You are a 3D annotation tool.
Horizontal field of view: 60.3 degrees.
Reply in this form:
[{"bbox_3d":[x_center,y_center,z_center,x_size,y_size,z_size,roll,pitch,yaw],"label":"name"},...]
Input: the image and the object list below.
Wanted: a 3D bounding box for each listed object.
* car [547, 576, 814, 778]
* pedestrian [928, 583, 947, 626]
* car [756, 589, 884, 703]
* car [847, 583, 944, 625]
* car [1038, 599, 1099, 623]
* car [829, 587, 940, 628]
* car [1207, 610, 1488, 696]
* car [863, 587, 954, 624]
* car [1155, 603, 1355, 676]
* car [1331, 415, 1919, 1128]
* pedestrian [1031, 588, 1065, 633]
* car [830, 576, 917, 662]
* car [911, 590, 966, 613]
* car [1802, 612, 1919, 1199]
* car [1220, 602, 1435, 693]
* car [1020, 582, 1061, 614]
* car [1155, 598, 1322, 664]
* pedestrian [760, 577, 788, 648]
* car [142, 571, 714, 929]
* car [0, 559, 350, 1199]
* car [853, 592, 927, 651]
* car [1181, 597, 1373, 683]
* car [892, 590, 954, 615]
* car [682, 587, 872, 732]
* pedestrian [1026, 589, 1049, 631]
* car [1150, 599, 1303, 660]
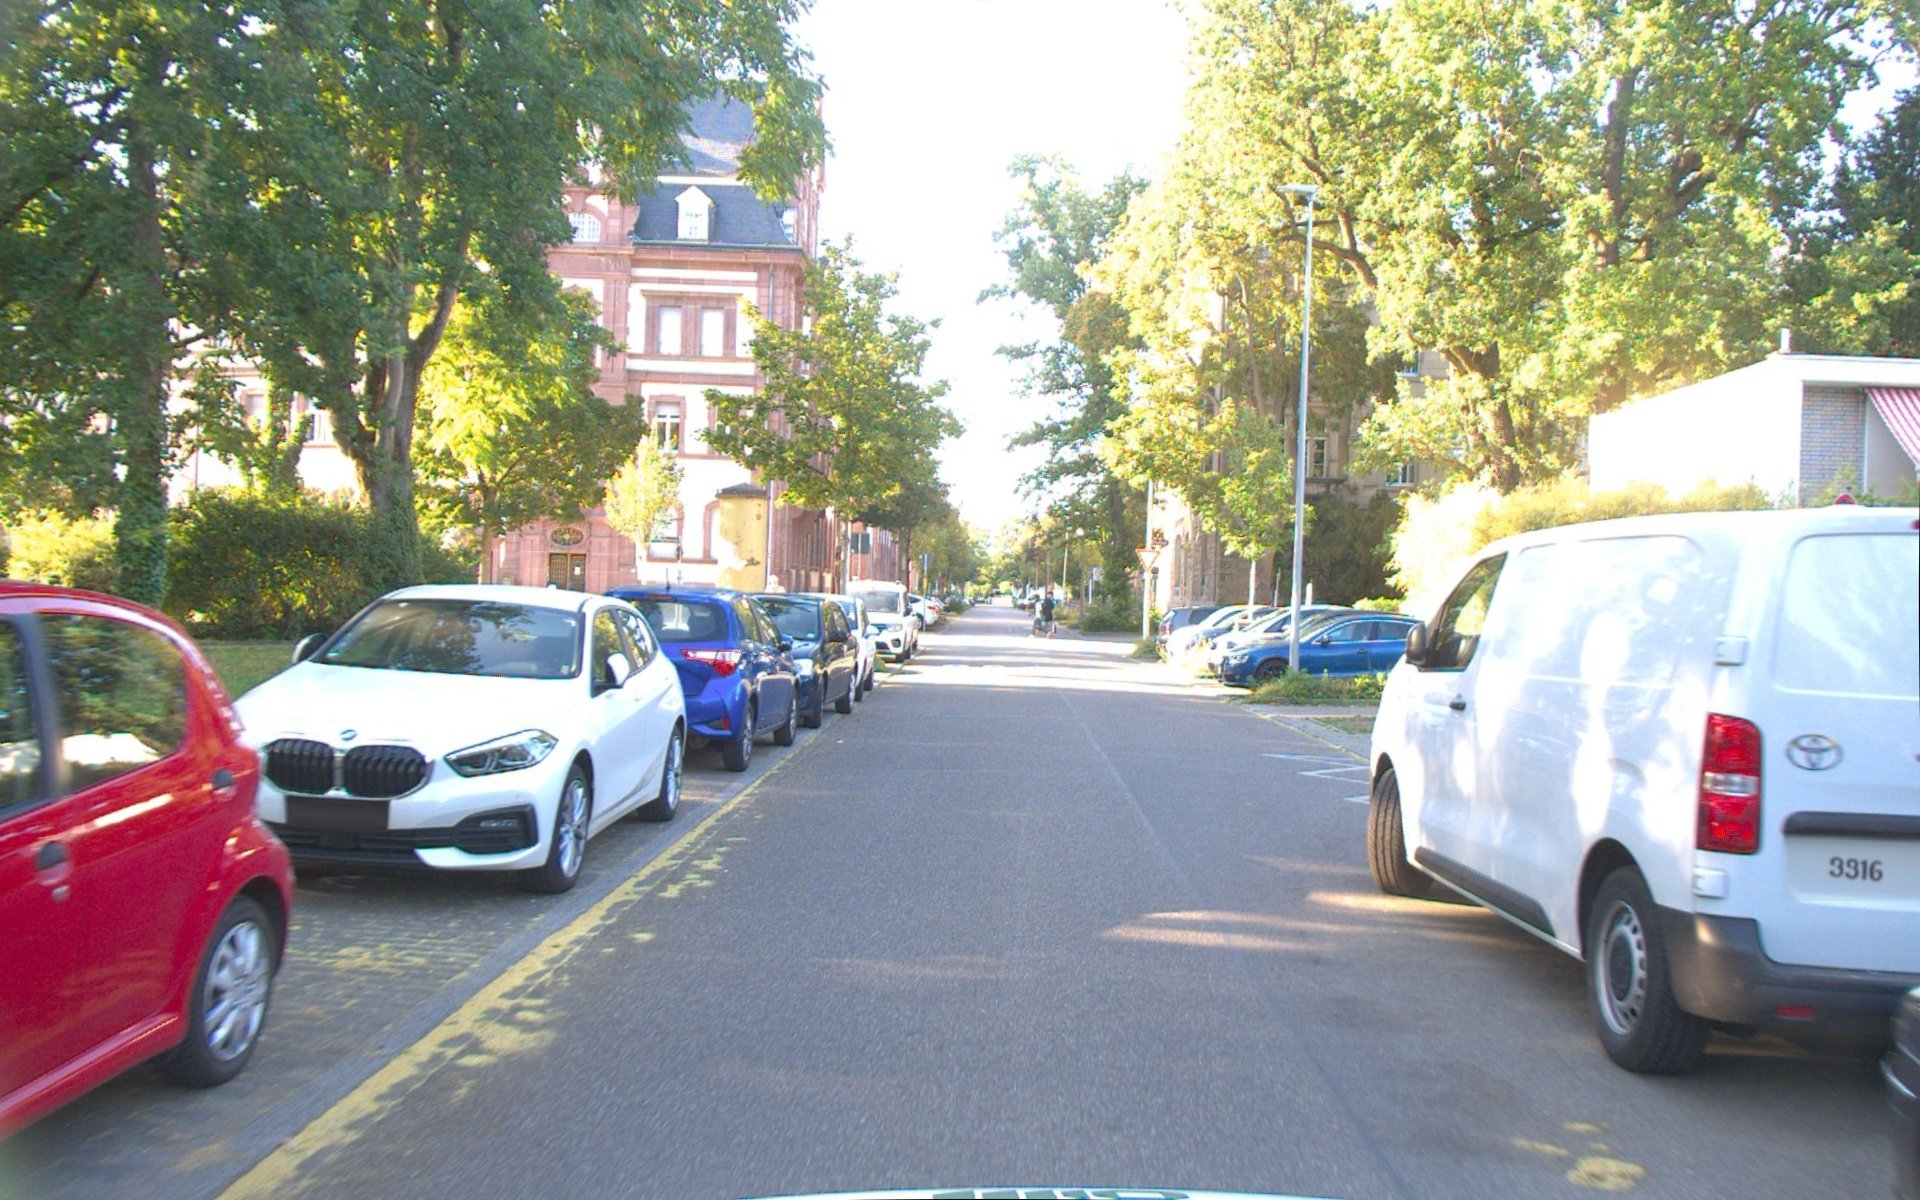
[{"bbox_3d":[-2.416,0.615,15.169,1.604,1.521,3.706,4,0,2],"label":"car"},{"bbox_3d":[-1.070,0.213,78.851,0.770,1.996,0.719,2,-1,-7],"label":"pedestrian"},{"bbox_3d":[-2.058,0.642,25.205,1.559,1.553,3.865,2,0,0],"label":"car"},{"bbox_3d":[-2.978,0.187,76.751,4.392,1.746,1.842,2,0,-1],"label":"car"},{"bbox_3d":[8.161,0.849,124.836,4.392,1.636,1.842,2,0,-1],"label":"car"},{"bbox_3d":[-3.273,0.331,72.264,4.744,1.622,1.842,2,0,-1],"label":"car"},{"bbox_3d":[6.654,0.903,28.793,4.493,1.439,1.923,0,-1,2],"label":"car"},{"bbox_3d":[-2.549,0.274,81.797,4.392,1.636,1.842,2,0,-1],"label":"car"},{"bbox_3d":[7.045,0.934,39.772,4.400,1.576,1.890,2,0,-2],"label":"car"},{"bbox_3d":[3.223,0.509,7.376,1.913,2.049,5.153,2,0,0],"label":"car"},{"bbox_3d":[3.798,0.468,71.378,1.049,1.890,0.992,2,0,-31],"label":"pedestrian"},{"bbox_3d":[-1.991,0.417,39.245,1.744,1.873,4.553,2,0,1],"label":"car"},{"bbox_3d":[-1.746,0.097,133.258,4.392,1.636,1.842,2,0,-1],"label":"car"},{"bbox_3d":[2.917,0.818,1.558,1.729,1.493,4.865,2,0,0],"label":"car"},{"bbox_3d":[6.909,0.871,31.321,3.607,1.550,1.791,2,0,-3],"label":"car"},{"bbox_3d":[9.613,-0.208,197.872,4.786,3.681,1.842,2,0,0],"label":"car"},{"bbox_3d":[7.141,0.797,42.603,3.884,1.543,1.670,2,0,-12],"label":"car"},{"bbox_3d":[-4.829,0.314,42.957,0.587,1.815,0.946,2,0,-2],"label":"pedestrian"},{"bbox_3d":[-2.595,0.638,9.118,1.655,1.430,3.976,4,0,2],"label":"car"},{"bbox_3d":[-2.722,0.627,3.557,1.359,1.448,3.428,4,0,2],"label":"car"},{"bbox_3d":[-1.933,0.575,47.103,1.744,1.531,4.553,2,0,1],"label":"car"},{"bbox_3d":[6.442,0.801,33.783,3.428,1.612,1.758,2,0,-9],"label":"car"},{"bbox_3d":[-2.632,0.170,118.983,4.392,1.636,1.842,2,0,-1],"label":"car"},{"bbox_3d":[-2.095,0.637,19.935,1.519,1.520,3.945,2,0,4],"label":"car"},{"bbox_3d":[3.105,0.413,66.248,0.769,1.634,0.720,2,-1,-5],"label":"pedestrian"},{"bbox_3d":[7.188,0.808,44.893,3.872,1.543,1.874,1,-2,2],"label":"car"}]
